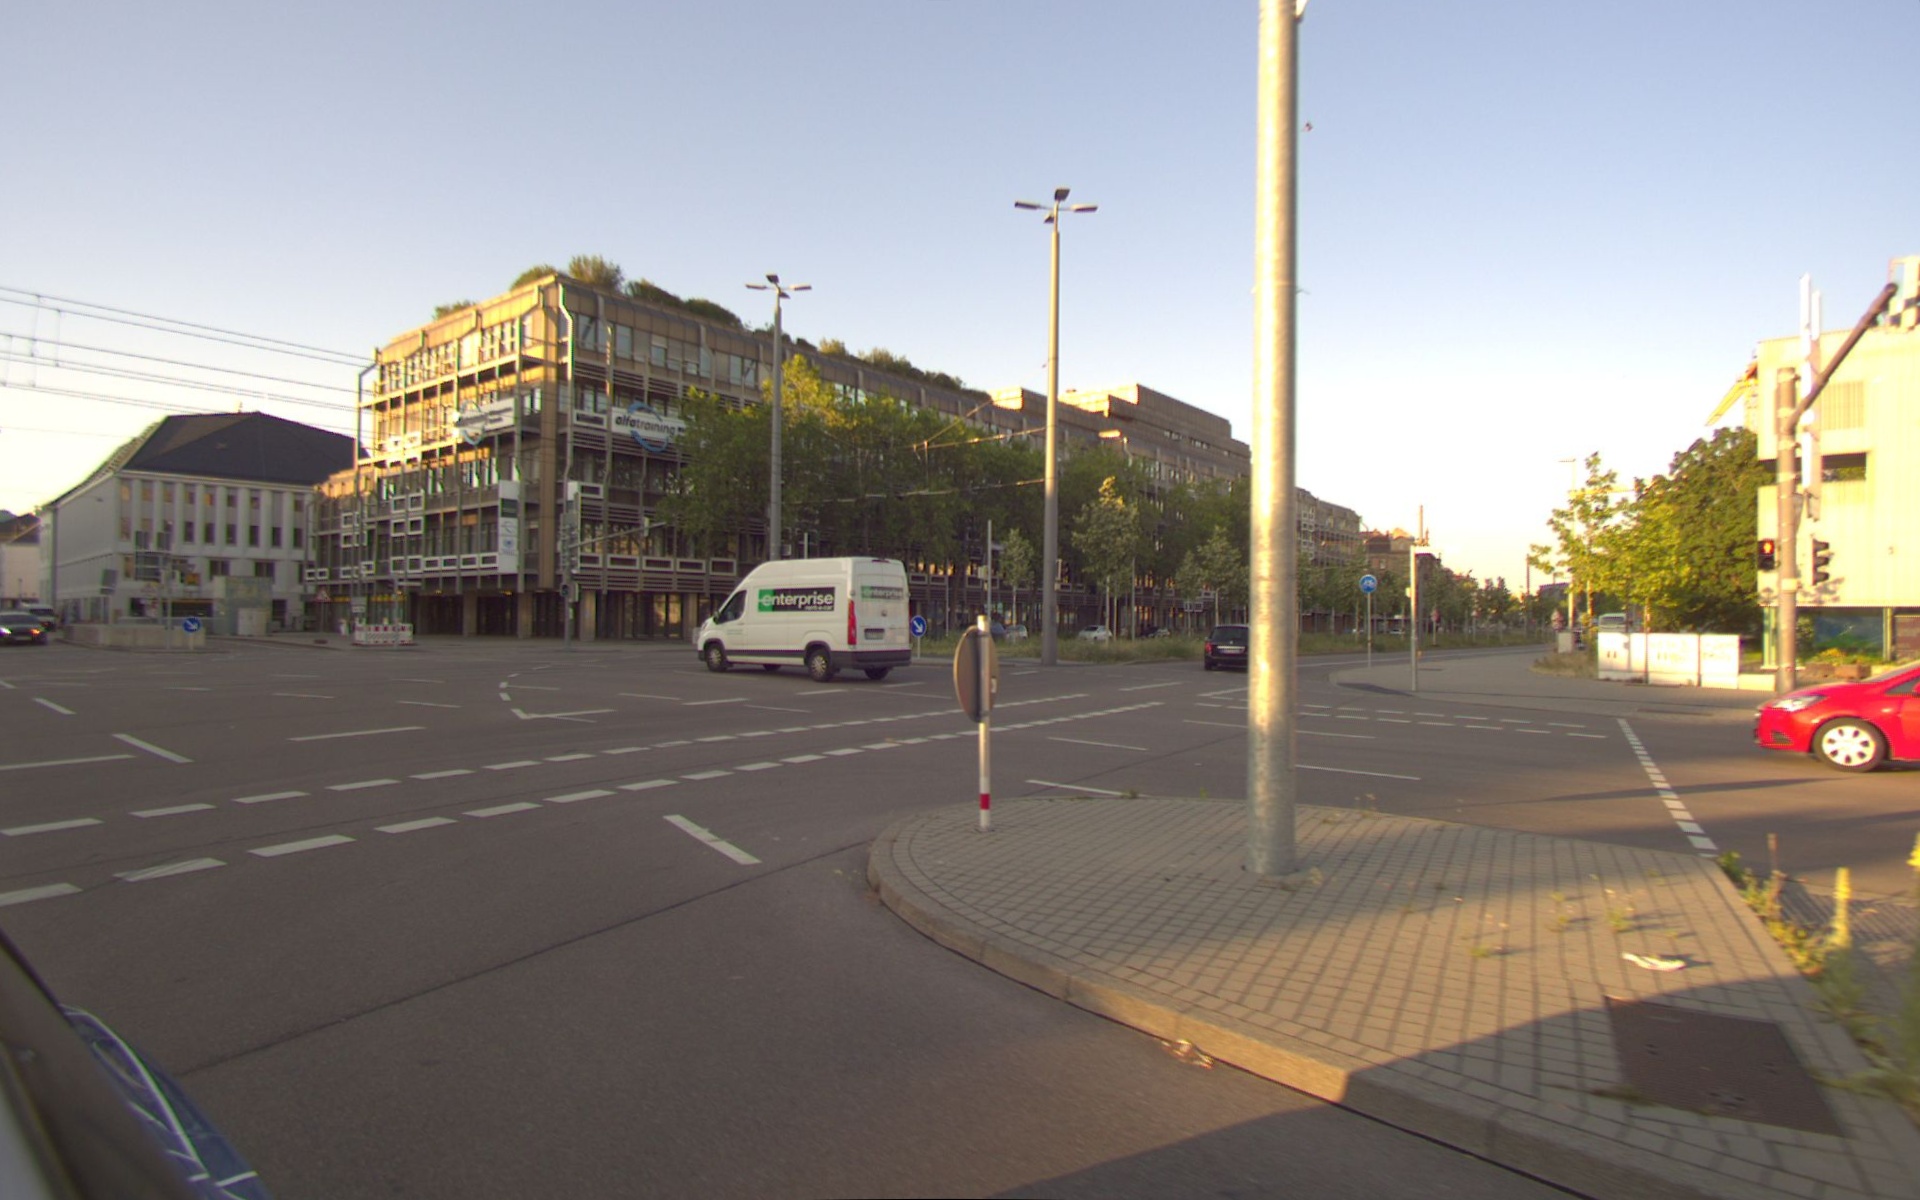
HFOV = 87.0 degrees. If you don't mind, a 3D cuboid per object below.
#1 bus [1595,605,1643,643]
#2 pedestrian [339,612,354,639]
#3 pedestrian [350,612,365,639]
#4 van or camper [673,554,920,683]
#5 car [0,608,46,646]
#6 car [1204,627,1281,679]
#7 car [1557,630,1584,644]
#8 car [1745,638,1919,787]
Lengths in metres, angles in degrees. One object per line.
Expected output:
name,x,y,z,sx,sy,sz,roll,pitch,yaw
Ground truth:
bus,68.052,2.482,104.376,3.552,3.743,8.810,0,-2,37
pedestrian,-38.869,1.628,64.095,0.682,1.726,0.637,-1,-2,45
pedestrian,-38.471,1.643,64.596,0.650,1.726,0.643,-1,-2,44
van or camper,-3.997,0.431,23.953,6.155,2.686,2.205,0,-2,39
car,-42.888,1.203,45.720,4.001,1.663,2.043,0,-2,44
car,9.417,1.682,33.554,2.058,1.564,4.446,0,-1,21
car,74.856,4.477,124.095,2.073,1.663,3.944,0,-2,42
car,11.187,1.254,11.093,3.998,1.538,1.618,1,-1,41
